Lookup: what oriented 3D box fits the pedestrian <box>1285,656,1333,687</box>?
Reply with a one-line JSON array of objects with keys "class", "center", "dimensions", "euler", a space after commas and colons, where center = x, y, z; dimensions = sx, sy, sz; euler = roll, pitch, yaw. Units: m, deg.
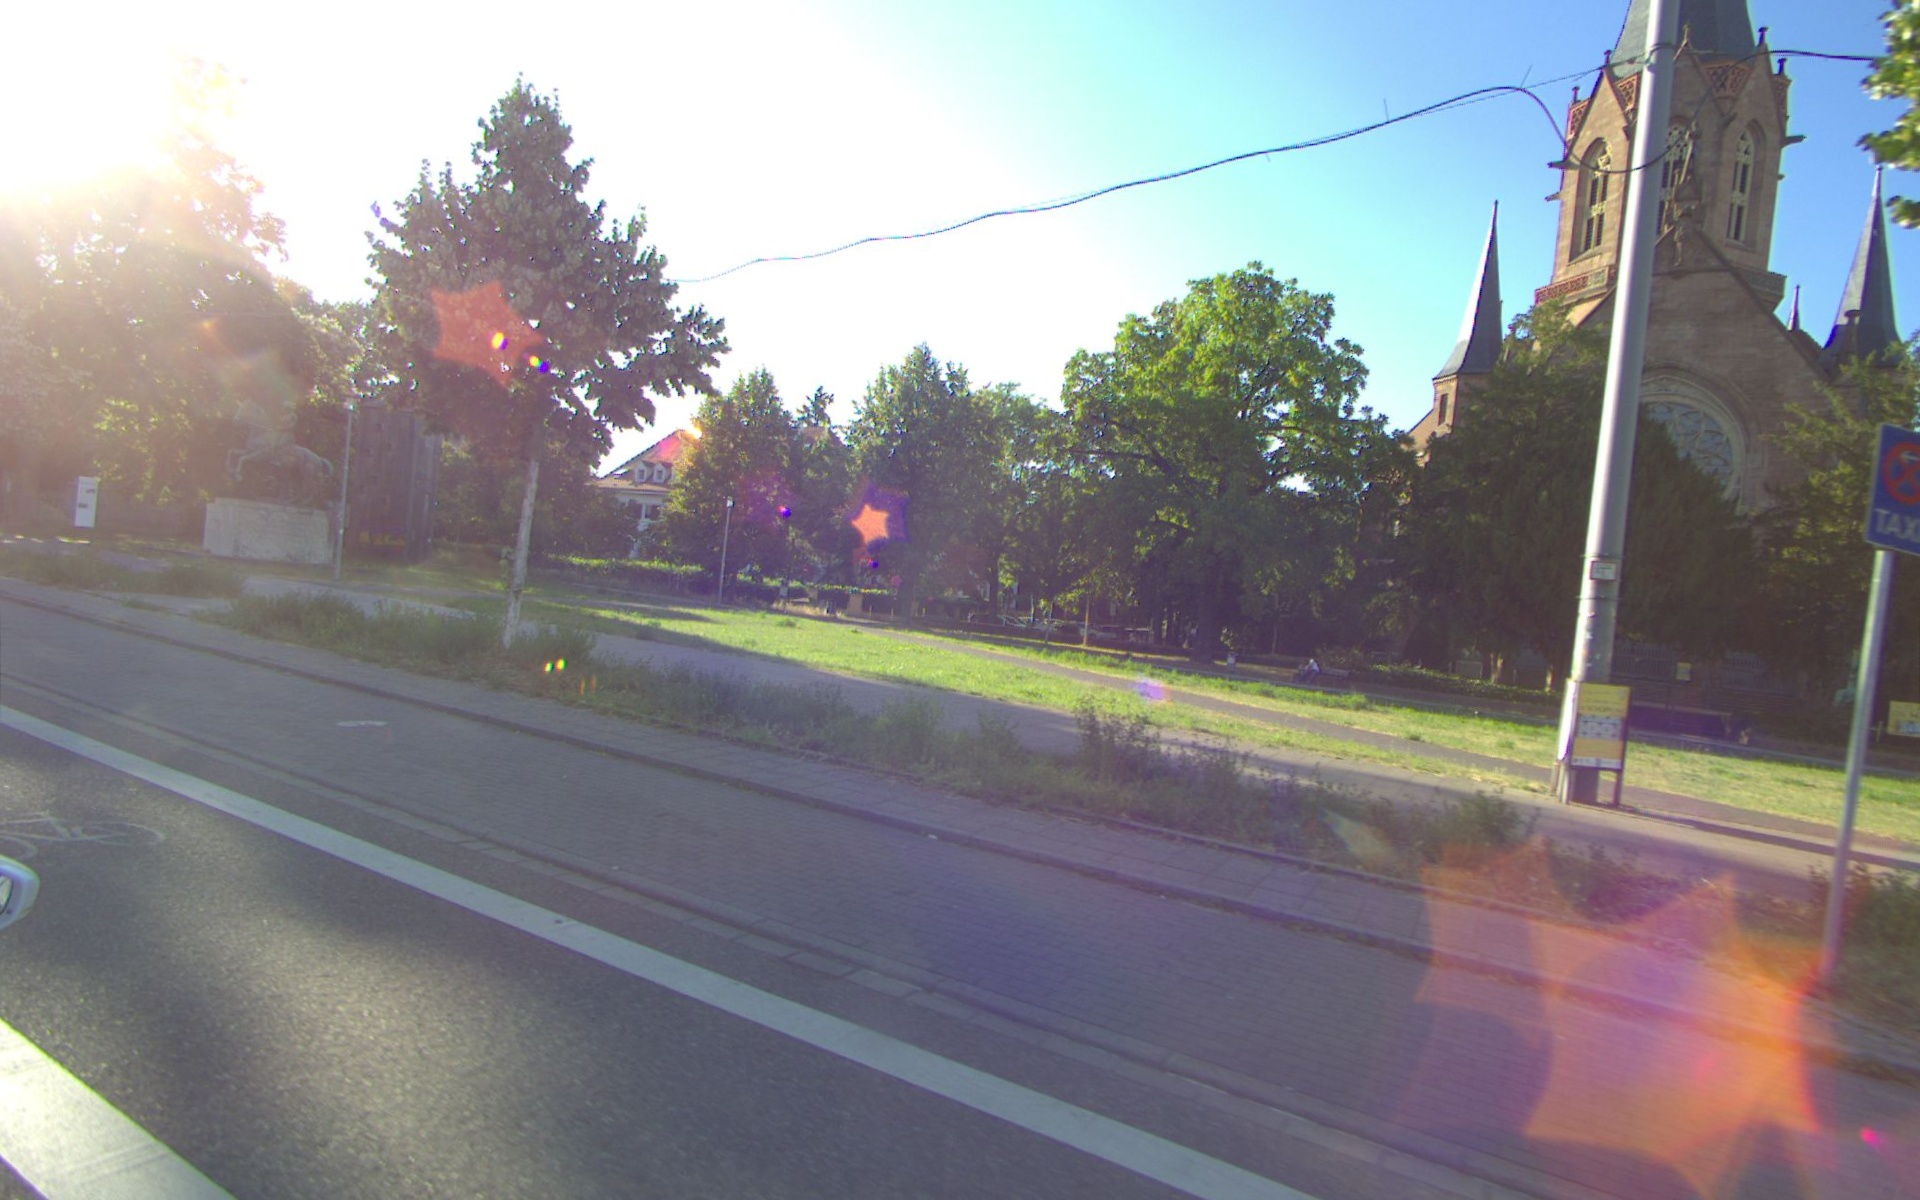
[{"class": "pedestrian", "center": [13.448, 2.746, 38.747], "dimensions": [1.266, 1.006, 1.377], "euler": [7, 0, 40]}]

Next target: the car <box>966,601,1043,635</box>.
[{"class": "car", "center": [2.945, 1.201, 66.451], "dimensions": [4.553, 1.740, 1.998], "euler": [6, 1, 23]}]

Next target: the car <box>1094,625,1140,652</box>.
[{"class": "car", "center": [11.311, 2.783, 72.318], "dimensions": [1.572, 1.528, 4.149], "euler": [6, -1, 33]}]

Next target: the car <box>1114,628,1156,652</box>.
[{"class": "car", "center": [13.566, 3.100, 77.831], "dimensions": [1.603, 1.528, 4.148], "euler": [7, 0, 33]}]

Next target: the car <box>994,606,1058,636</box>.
[{"class": "car", "center": [4.785, 1.519, 73.291], "dimensions": [4.086, 1.639, 1.869], "euler": [6, 0, 28]}]

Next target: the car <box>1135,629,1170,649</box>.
[{"class": "car", "center": [16.763, 3.408, 87.448], "dimensions": [1.539, 1.466, 3.498], "euler": [6, -1, 35]}]

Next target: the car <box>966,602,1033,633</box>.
[{"class": "car", "center": [2.734, 1.234, 69.876], "dimensions": [4.086, 1.650, 1.869], "euler": [6, 0, 28]}]
